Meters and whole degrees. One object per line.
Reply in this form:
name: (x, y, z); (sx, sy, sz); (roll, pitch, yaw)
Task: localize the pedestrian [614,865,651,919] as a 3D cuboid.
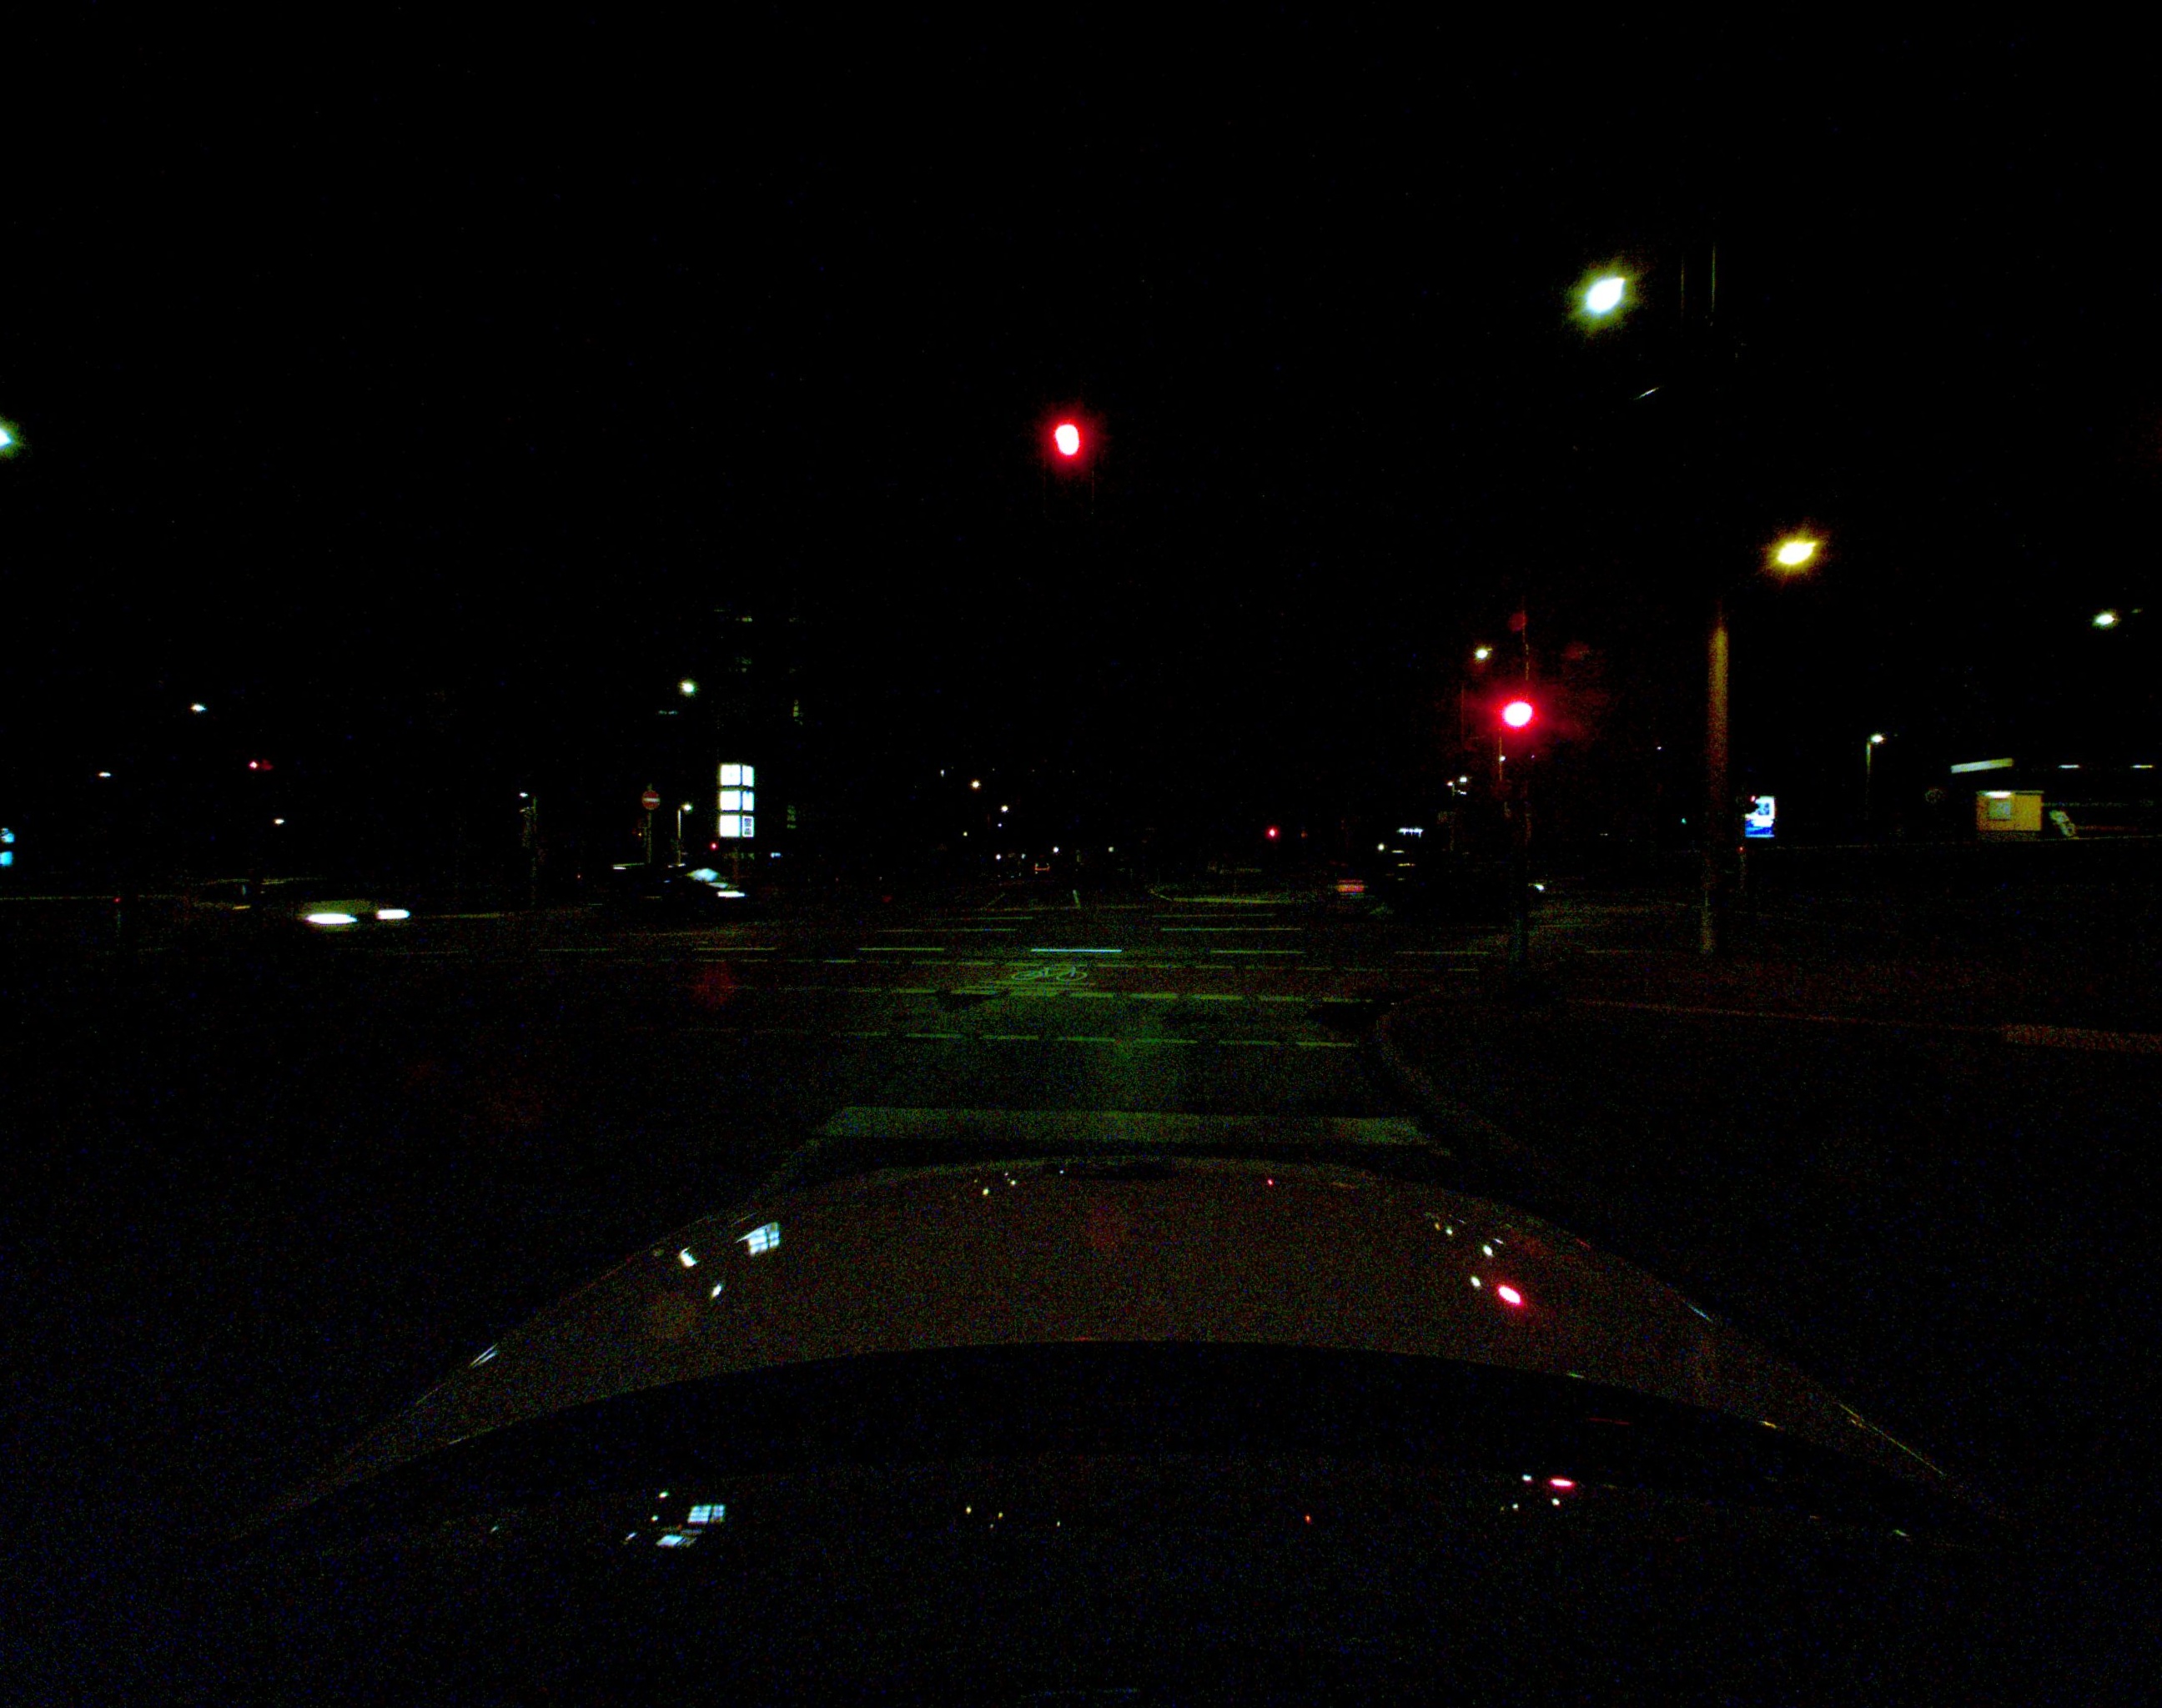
pedestrian: (-13.920, 1.165, 25.298); (0.667, 1.634, 0.862); (0, -1, -3)

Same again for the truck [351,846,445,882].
truck: (-59.791, 0.876, 71.368); (5.873, 3.088, 2.915); (0, -1, 3)

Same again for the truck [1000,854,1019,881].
truck: (-10.570, 1.956, 119.552); (2.580, 3.707, 5.723); (0, -1, -7)

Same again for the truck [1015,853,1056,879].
truck: (-8.550, 2.222, 151.648); (4.835, 4.547, 12.591); (0, -1, -17)

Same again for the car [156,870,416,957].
car: (-16.941, 1.240, 17.467); (3.967, 1.662, 1.813); (-2, -1, 6)

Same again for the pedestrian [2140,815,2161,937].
pedestrian: (15.866, 0.288, 11.435); (0.752, 1.745, 0.834); (-3, -2, 1)

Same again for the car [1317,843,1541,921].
car: (7.764, 0.606, 18.506); (4.323, 1.651, 1.812); (-1, 1, 4)

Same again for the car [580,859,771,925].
car: (-11.294, 1.040, 22.878); (4.424, 1.659, 1.867); (-1, -1, 5)
